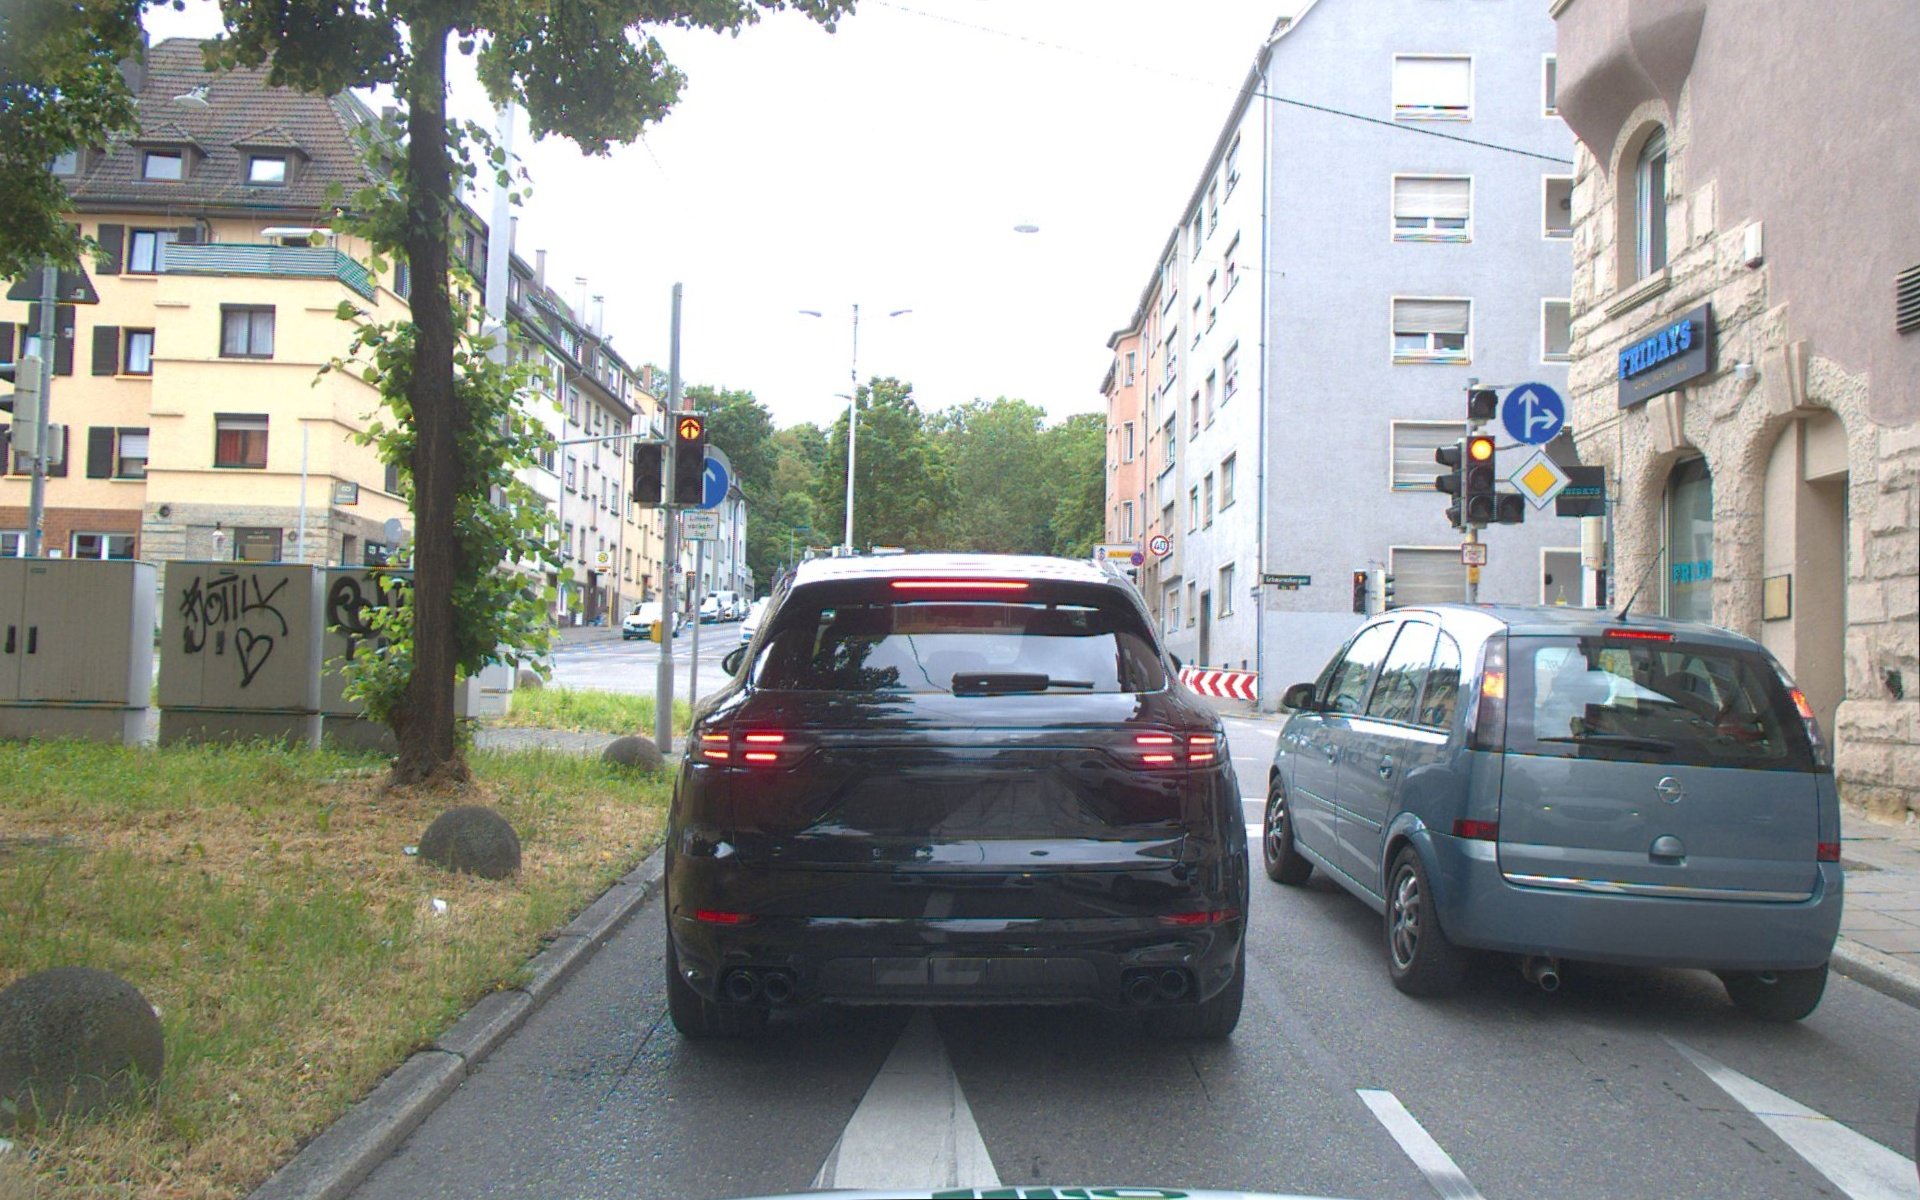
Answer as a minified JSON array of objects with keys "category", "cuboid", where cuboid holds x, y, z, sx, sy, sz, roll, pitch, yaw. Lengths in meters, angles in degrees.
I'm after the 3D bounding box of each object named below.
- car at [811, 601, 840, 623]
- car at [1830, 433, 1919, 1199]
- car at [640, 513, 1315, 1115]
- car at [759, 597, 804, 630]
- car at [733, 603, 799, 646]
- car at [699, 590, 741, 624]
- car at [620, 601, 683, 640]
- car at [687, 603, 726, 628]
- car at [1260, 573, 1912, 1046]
[{"category":"car","cuboid":[-9.716,0.908,119.761,1.585,1.506,3.824,1,-1,3]},{"category":"car","cuboid":[2.891,0.638,1.116,1.936,1.806,4.674,4,0,-2]},{"category":"car","cuboid":[0.027,0.618,6.707,1.916,1.704,3.999,0,0,-1]},{"category":"car","cuboid":[-9.506,0.712,88.231,1.933,1.638,4.557,1,0,-1]},{"category":"car","cuboid":[-6.773,0.848,58.032,1.824,1.412,4.094,1,0,0]},{"category":"car","cuboid":[-15.152,0.454,104.447,1.975,2.081,4.666,1,0,0]},{"category":"car","cuboid":[-12.558,0.837,67.516,1.806,1.512,3.898,1,0,0]},{"category":"car","cuboid":[-15.089,0.896,98.607,1.703,1.411,3.813,1,0,0]},{"category":"car","cuboid":[2.632,0.776,7.898,1.596,1.625,3.668,4,0,-1]}]
